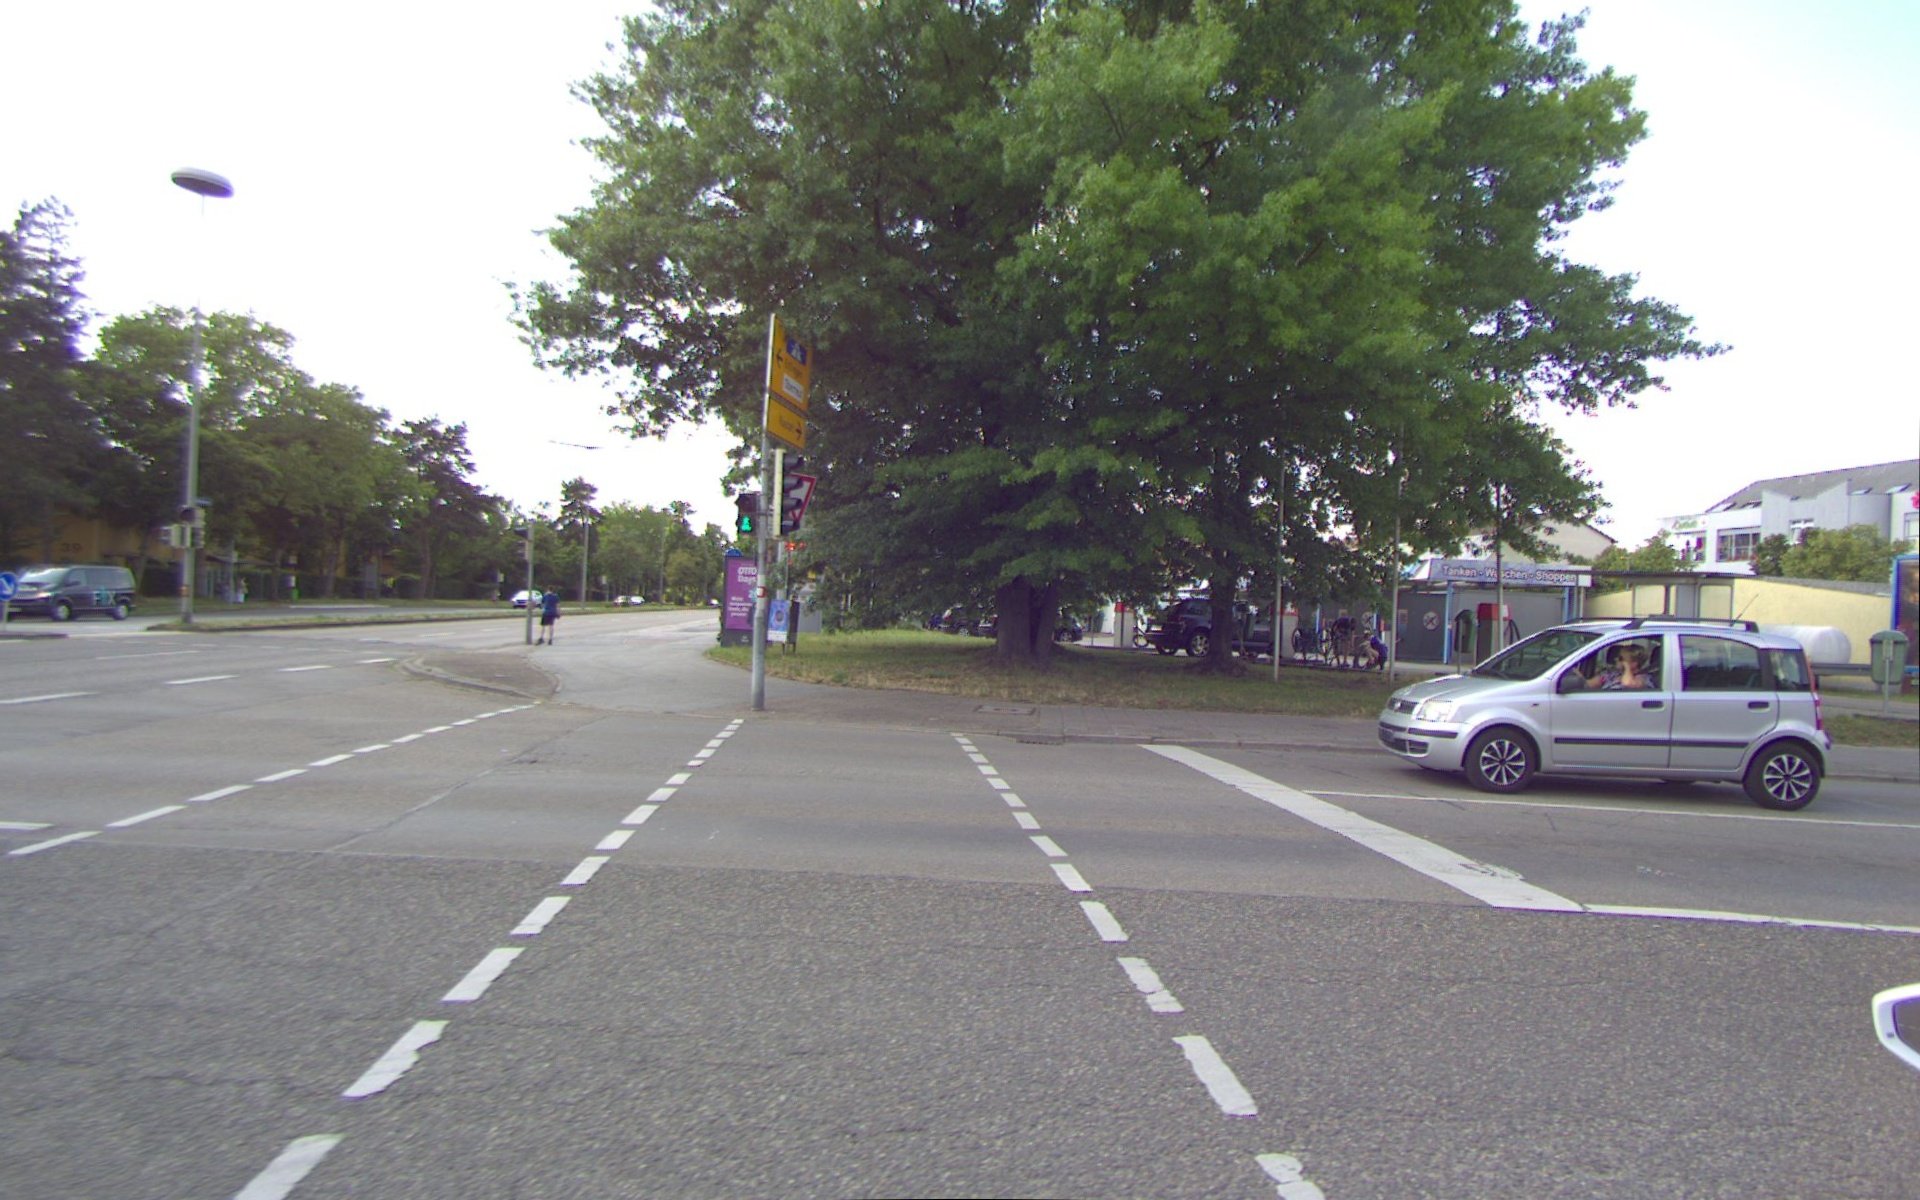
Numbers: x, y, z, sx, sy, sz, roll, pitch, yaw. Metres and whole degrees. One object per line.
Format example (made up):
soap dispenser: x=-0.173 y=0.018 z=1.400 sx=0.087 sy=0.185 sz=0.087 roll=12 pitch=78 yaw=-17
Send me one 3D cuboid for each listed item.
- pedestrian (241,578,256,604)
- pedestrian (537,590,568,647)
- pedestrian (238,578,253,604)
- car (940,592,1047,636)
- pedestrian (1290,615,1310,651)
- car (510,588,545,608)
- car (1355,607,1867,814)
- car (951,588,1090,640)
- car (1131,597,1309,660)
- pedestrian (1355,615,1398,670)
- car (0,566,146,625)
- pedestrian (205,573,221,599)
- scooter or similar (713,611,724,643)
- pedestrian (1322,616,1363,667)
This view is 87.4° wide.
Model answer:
pedestrian: x=-43.616 y=-0.543 z=61.540 sx=0.564 sy=1.515 sz=0.419 roll=4 pitch=-1 yaw=-24
pedestrian: x=-11.373 y=0.500 z=28.036 sx=0.717 sy=1.552 sz=0.755 roll=2 pitch=0 yaw=-24
pedestrian: x=-43.039 y=-0.529 z=60.529 sx=0.564 sy=1.515 sz=0.419 roll=4 pitch=-1 yaw=-24
car: x=1.693 y=0.722 z=51.360 sx=5.106 sy=2.030 sz=2.149 roll=2 pitch=-1 yaw=-12
pedestrian: x=15.098 y=1.479 z=44.600 sx=0.643 sy=1.565 sz=0.624 roll=2 pitch=0 yaw=-1
car: x=-39.813 y=-0.136 z=92.599 sx=1.832 sy=1.728 sz=4.450 roll=2 pitch=-1 yaw=-8
car: x=5.669 y=0.910 z=9.105 sx=3.536 sy=1.537 sz=1.560 roll=2 pitch=0 yaw=5
car: x=2.418 y=0.576 z=40.244 sx=5.117 sy=1.851 sz=2.145 roll=2 pitch=-1 yaw=-19
car: x=7.425 y=0.799 z=28.791 sx=4.493 sy=1.617 sz=2.145 roll=2 pitch=-1 yaw=-19
pedestrian: x=10.120 y=1.032 z=24.385 sx=0.754 sy=1.272 sz=0.643 roll=3 pitch=-2 yaw=38
car: x=-31.263 y=-0.165 z=35.384 sx=1.739 sy=1.882 sz=4.810 roll=2 pitch=0 yaw=-8
pedestrian: x=-44.854 y=-0.811 z=60.315 sx=0.564 sy=1.515 sz=0.419 roll=4 pitch=-1 yaw=-24
scooter or similar: x=-7.836 y=0.872 z=32.607 sx=0.217 sy=0.992 sz=1.271 roll=2 pitch=0 yaw=-8
pedestrian: x=9.538 y=1.032 z=25.039 sx=0.754 sy=1.205 sz=0.643 roll=3 pitch=-2 yaw=38
